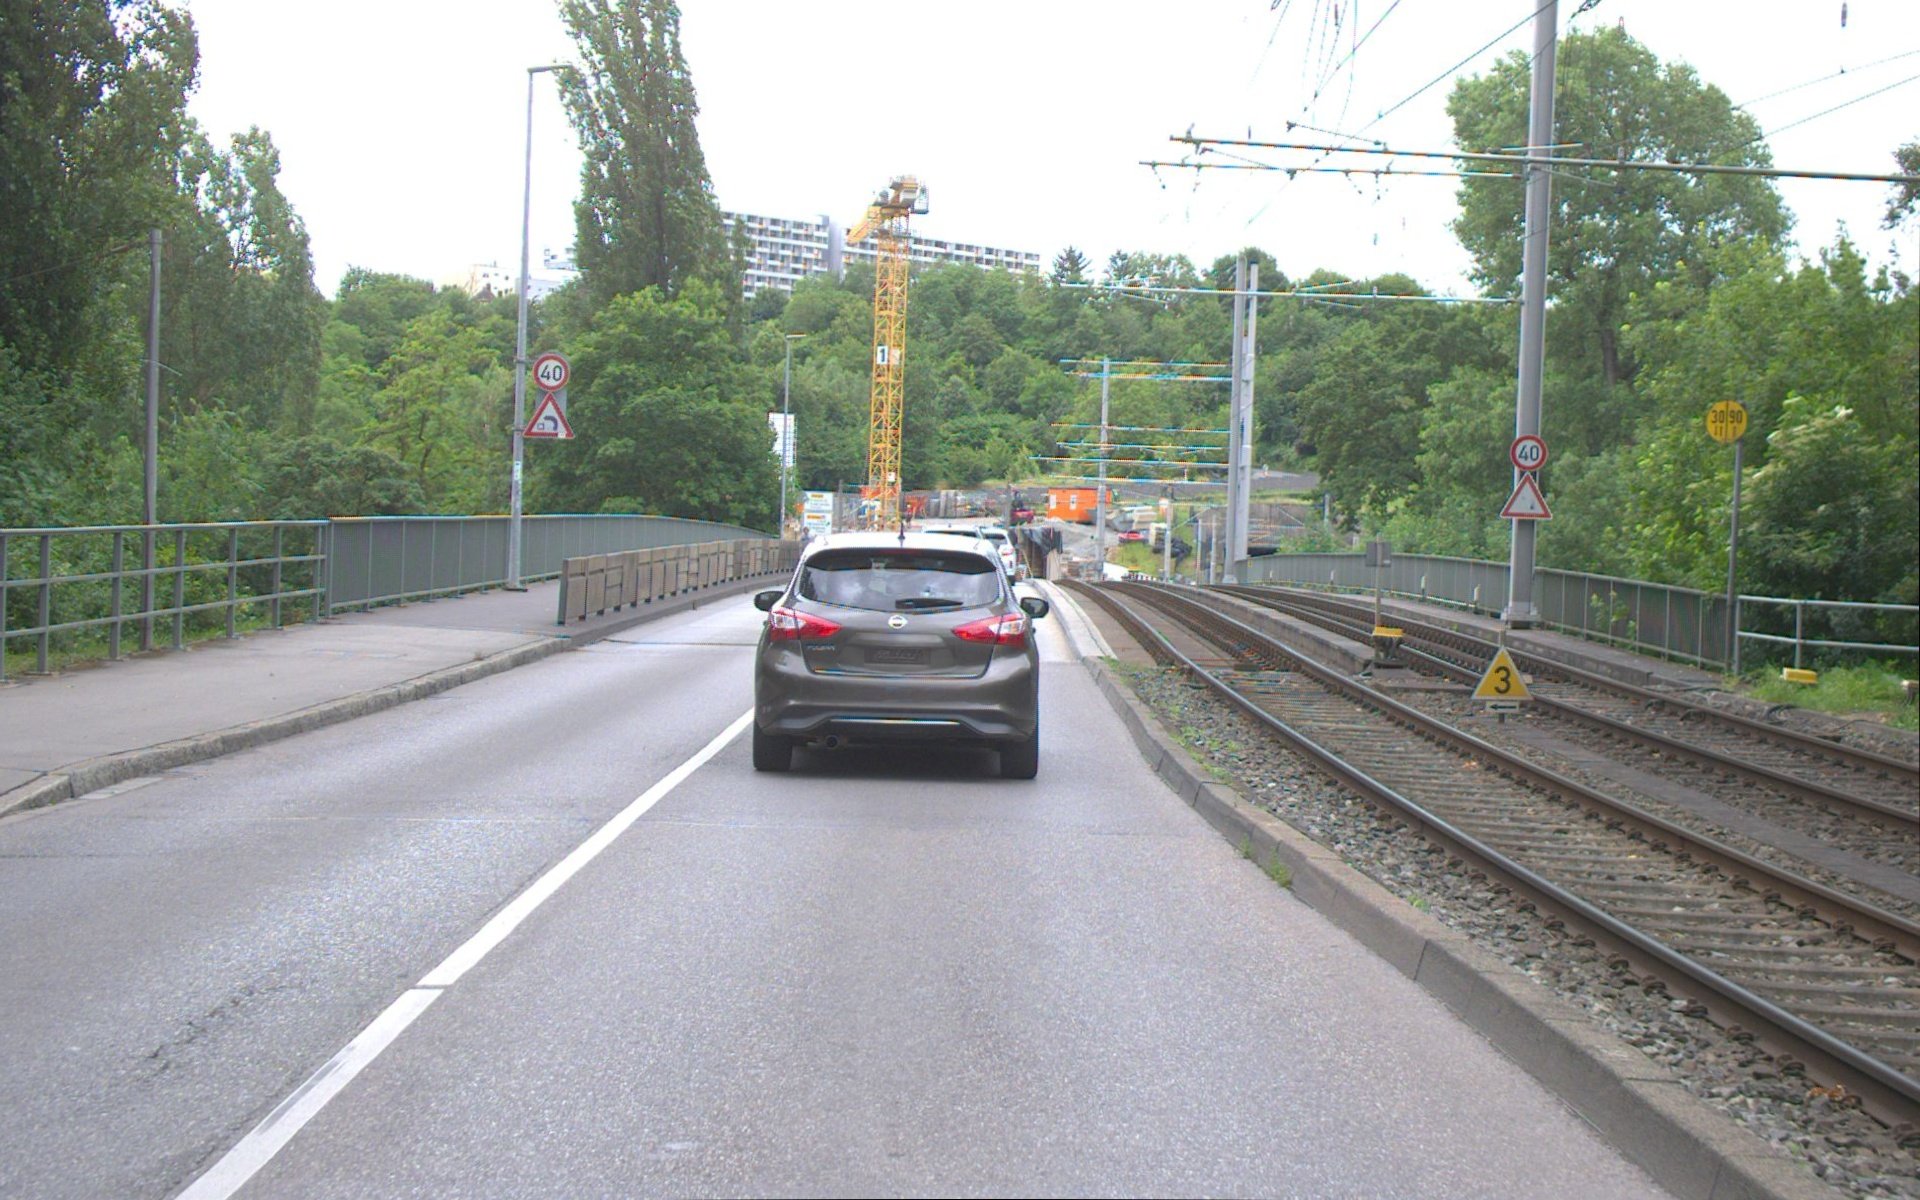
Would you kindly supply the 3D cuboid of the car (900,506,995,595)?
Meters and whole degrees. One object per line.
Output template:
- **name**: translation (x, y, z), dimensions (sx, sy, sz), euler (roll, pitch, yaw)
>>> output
- **car**: translation (-0.284, -1.017, 68.969), dimensions (1.680, 1.601, 4.310), euler (3, 2, -2)

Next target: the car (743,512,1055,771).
- **car**: translation (-0.458, 0.247, 22.484), dimensions (1.829, 1.505, 4.000), euler (1, 0, -3)

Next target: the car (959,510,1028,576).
- **car**: translation (0.901, -1.529, 90.672), dimensions (1.680, 1.601, 4.309), euler (3, 2, 1)
